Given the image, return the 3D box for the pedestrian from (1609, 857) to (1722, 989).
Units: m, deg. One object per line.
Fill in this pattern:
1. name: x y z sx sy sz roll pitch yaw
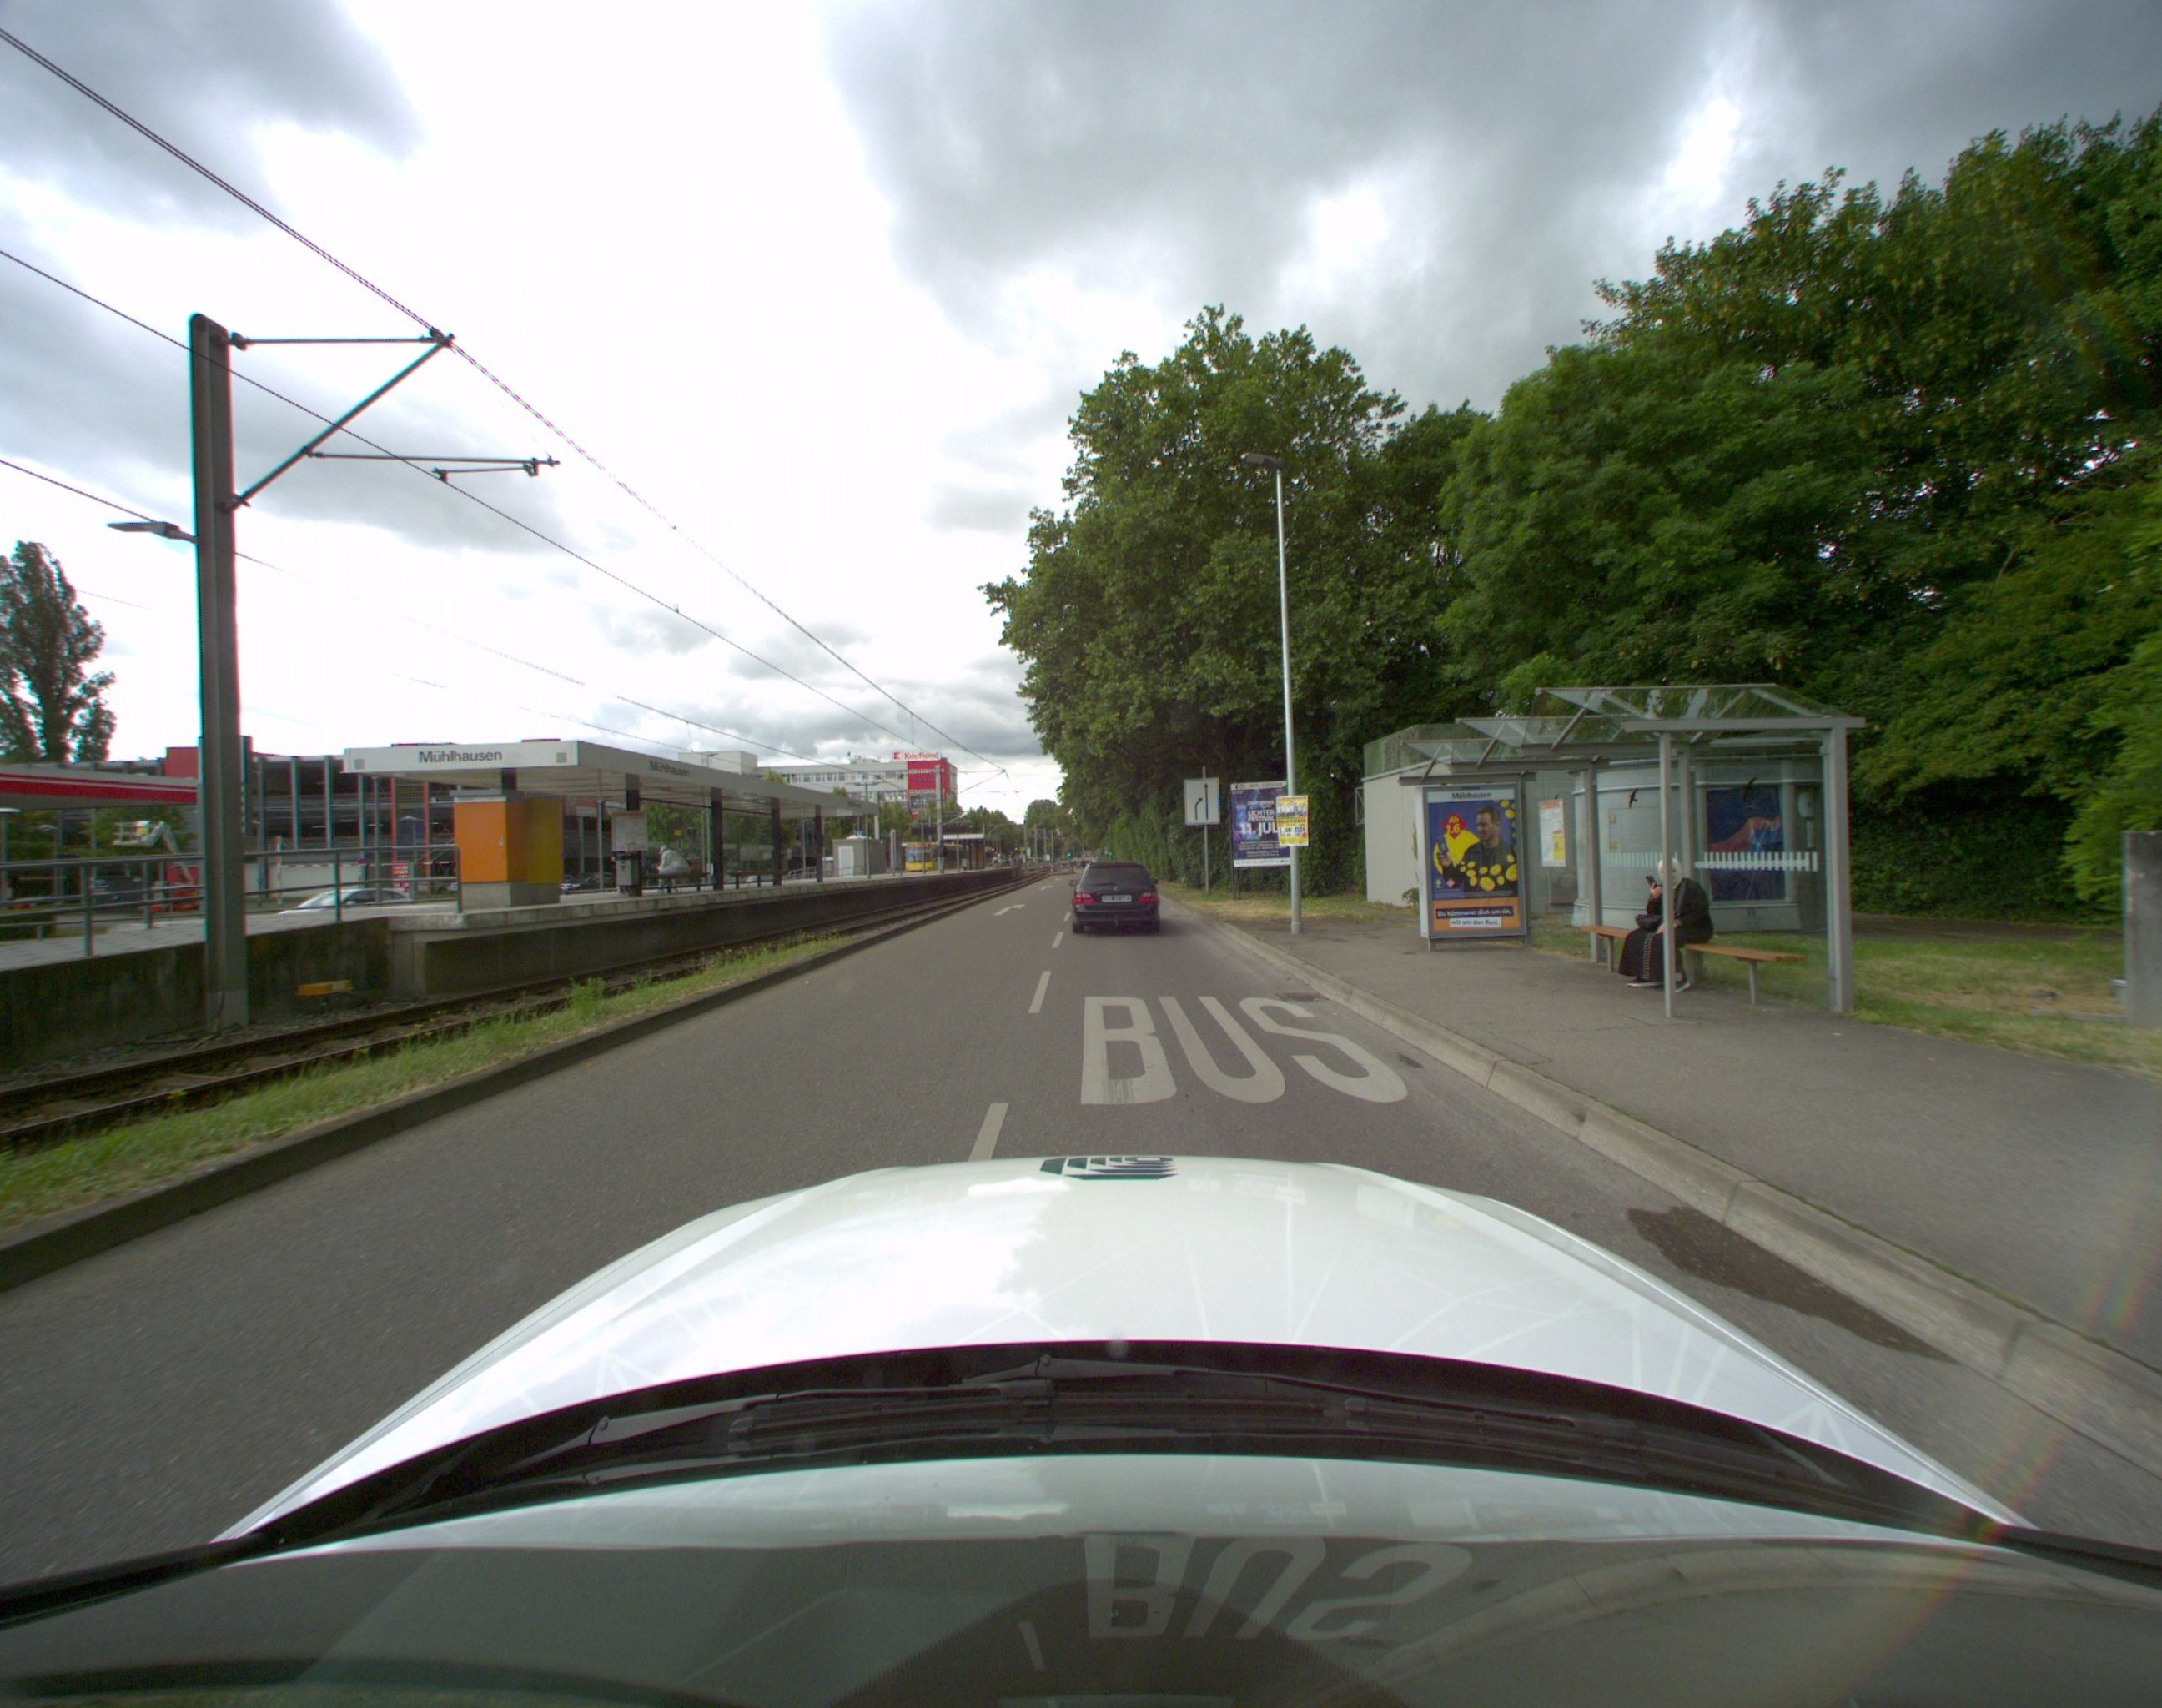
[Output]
1. pedestrian: 5.448 0.620 7.613 0.599 1.158 0.547 -3 -1 0

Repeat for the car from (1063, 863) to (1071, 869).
1. car: -3.562 3.156 209.961 1.818 1.530 3.929 -1 0 2

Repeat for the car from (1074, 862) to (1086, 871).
1. car: -0.169 2.230 150.070 1.818 1.530 4.418 -2 -1 2

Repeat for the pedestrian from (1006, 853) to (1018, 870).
1. pedestrian: -7.012 0.812 83.138 0.736 1.678 0.881 -4 -2 44

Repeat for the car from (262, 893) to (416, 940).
1. car: -25.862 2.136 28.595 1.607 1.350 4.032 -2 -1 2

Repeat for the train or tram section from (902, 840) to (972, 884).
1. train or tram section: -14.229 0.770 82.616 2.745 3.883 18.644 -2 -1 3

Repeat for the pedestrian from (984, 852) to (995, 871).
1. pedestrian: -8.488 0.703 75.473 0.768 1.678 0.791 -3 -1 0

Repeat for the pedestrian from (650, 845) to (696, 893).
1. pedestrian: -10.492 0.376 20.963 0.766 1.189 0.729 -2 -1 4

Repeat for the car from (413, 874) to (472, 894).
1. car: -49.923 2.325 63.762 1.710 1.415 3.561 -3 -1 2

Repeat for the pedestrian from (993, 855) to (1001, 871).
1. pedestrian: -7.985 0.871 77.608 0.478 1.483 0.537 -2 -1 -32

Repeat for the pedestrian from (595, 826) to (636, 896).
1. pedestrian: -11.011 0.165 19.278 0.568 1.620 0.586 -3 -1 0

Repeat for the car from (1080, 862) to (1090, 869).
1. car: 0.844 2.409 173.885 1.818 1.530 3.929 -1 0 2

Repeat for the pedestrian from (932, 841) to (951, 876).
1. pedestrian: -7.243 0.234 42.309 0.746 1.744 0.937 -3 -1 0

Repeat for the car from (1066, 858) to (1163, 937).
1. car: 0.659 0.839 17.870 1.827 1.478 4.415 -1 0 0

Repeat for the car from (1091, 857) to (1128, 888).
1. car: 1.445 0.943 42.835 1.819 1.530 4.415 -1 0 0

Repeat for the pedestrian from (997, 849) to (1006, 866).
1. pedestrian: -7.465 0.334 76.686 0.514 1.482 0.585 -4 -2 38

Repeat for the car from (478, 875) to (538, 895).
1. car: -44.705 2.396 63.603 1.843 1.310 3.801 -3 -1 2
